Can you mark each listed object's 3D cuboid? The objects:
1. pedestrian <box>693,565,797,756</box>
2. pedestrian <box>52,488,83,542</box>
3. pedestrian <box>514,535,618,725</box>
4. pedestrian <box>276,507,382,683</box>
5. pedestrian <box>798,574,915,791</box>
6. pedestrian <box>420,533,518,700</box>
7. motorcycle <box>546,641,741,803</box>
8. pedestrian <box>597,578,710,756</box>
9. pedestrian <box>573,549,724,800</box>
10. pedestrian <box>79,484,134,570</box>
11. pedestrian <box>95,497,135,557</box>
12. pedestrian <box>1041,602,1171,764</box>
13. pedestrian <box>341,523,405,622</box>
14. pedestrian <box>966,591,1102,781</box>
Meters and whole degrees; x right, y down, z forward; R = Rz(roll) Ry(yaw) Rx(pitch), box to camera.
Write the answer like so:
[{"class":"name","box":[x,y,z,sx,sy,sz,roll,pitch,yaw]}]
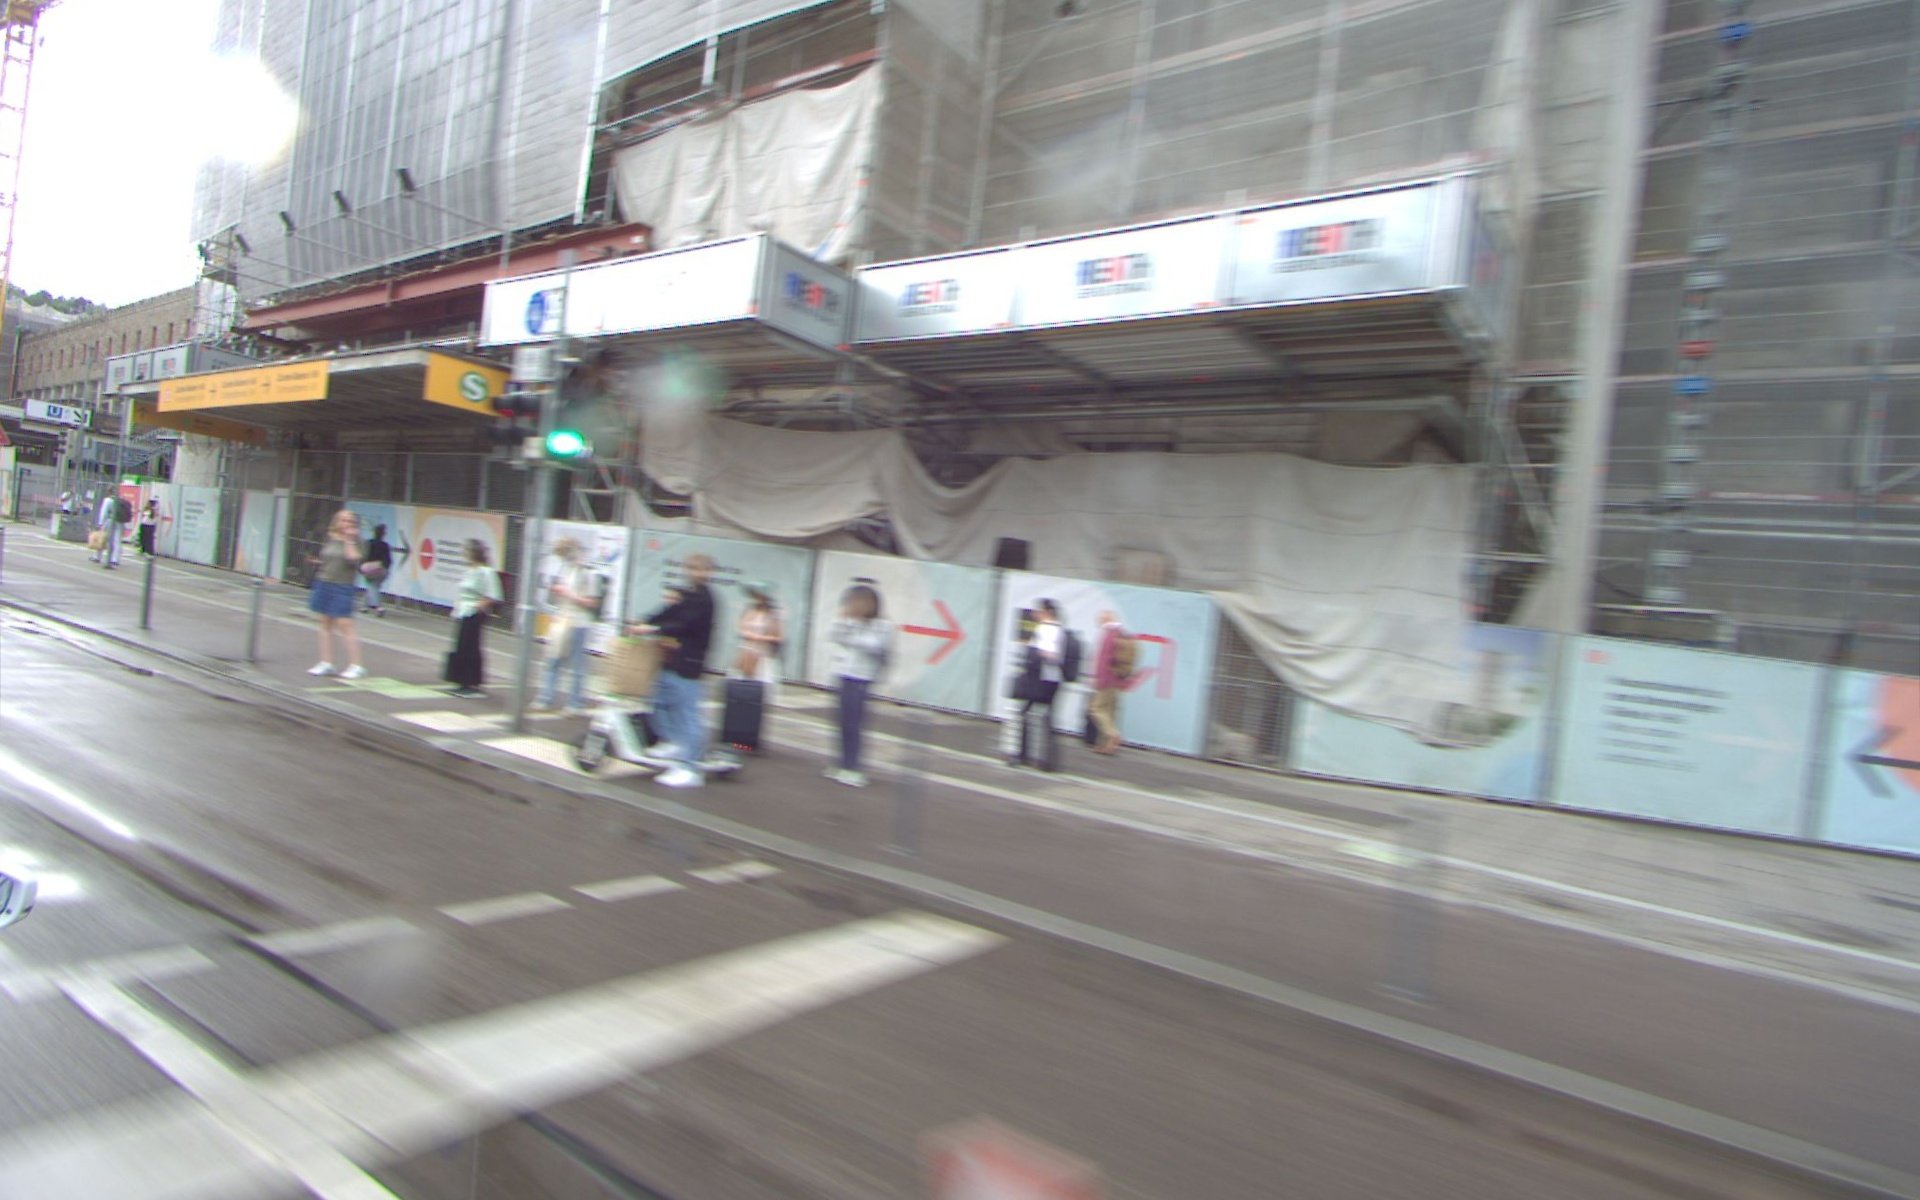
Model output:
[{"class":"pedestrian","box":[-2.009,0.553,9.385,0.606,1.673,0.563,8,4,40]},{"class":"pedestrian","box":[-32.860,-3.123,37.036,0.648,1.873,0.644,8,4,36]},{"class":"pedestrian","box":[-3.928,0.288,10.031,0.700,1.775,0.557,8,4,37]},{"class":"pedestrian","box":[-6.803,-0.061,10.854,0.738,1.783,0.559,7,3,22]},{"class":"pedestrian","box":[-0.858,0.664,8.357,0.605,1.673,0.557,8,4,37]},{"class":"pedestrian","box":[-5.191,0.166,10.641,0.740,1.663,0.557,8,4,37]},{"class":"motorcycle","box":[-2.383,0.915,7.684,1.218,1.034,0.585,7,0,-7]},{"class":"pedestrian","box":[-2.752,0.580,9.029,0.700,1.469,0.557,8,4,37]},{"class":"pedestrian","box":[-2.352,0.554,7.677,0.808,1.762,0.580,7,1,-7]},{"class":"pedestrian","box":[-19.562,-1.669,23.063,0.797,1.873,0.722,8,4,36]},{"class":"pedestrian","box":[-23.254,-2.002,27.680,0.655,1.560,0.650,8,4,37]},{"class":"pedestrian","box":[1.709,0.959,11.809,1.093,1.703,0.732,8,1,38]},{"class":"pedestrian","box":[-10.485,-0.499,17.953,0.980,1.654,0.548,8,4,36]},{"class":"pedestrian","box":[0.732,0.823,9.978,0.942,1.700,0.735,8,3,35]}]
